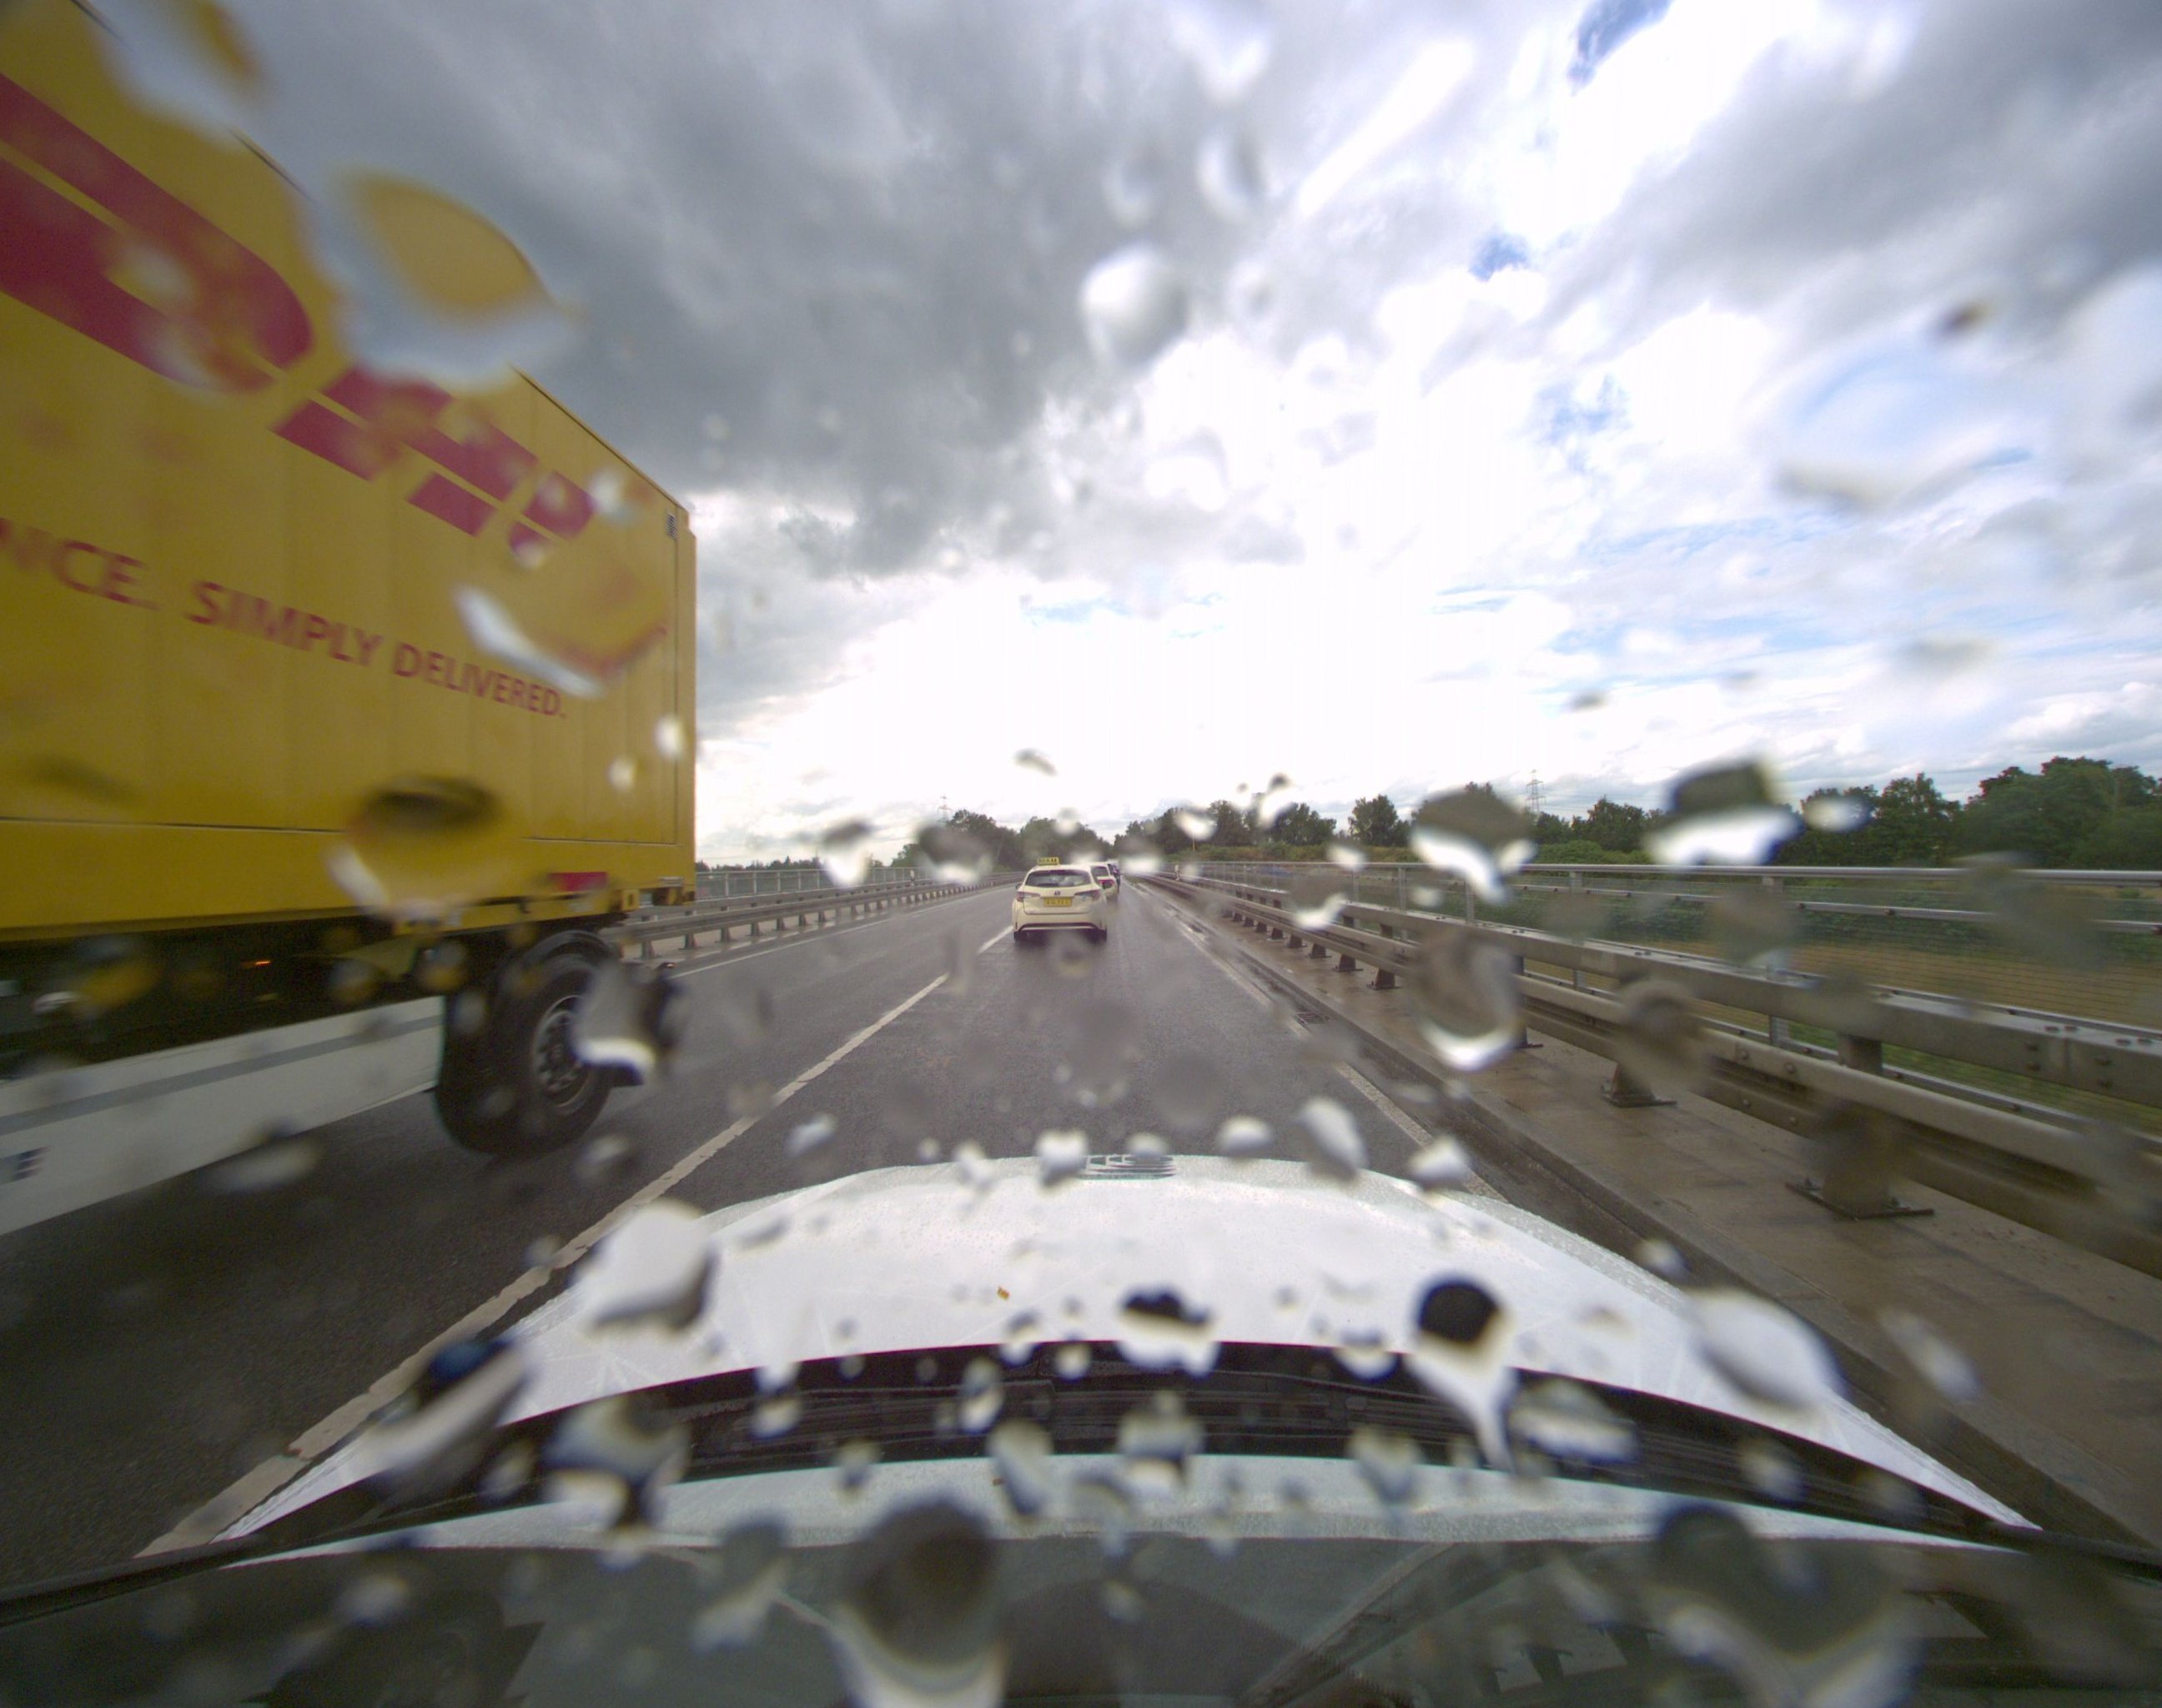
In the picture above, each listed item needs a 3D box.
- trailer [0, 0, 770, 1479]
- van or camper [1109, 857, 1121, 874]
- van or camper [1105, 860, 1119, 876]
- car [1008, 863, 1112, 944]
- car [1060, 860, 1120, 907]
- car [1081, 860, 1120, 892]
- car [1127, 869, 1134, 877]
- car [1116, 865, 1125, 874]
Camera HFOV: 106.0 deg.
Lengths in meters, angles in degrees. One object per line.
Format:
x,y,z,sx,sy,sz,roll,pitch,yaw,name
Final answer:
-3.975,-0.503,2.252,2.672,4.075,8.489,-1,0,2,trailer
7.155,2.432,170.810,2.324,3.563,6.308,0,-1,2,van or camper
5.554,2.520,145.561,2.324,2.864,6.308,0,-1,2,van or camper
-0.312,0.897,16.555,1.847,1.394,4.172,0,0,2,car
0.348,0.933,27.451,1.847,1.443,4.172,0,0,2,car
0.973,1.060,40.438,1.847,1.443,4.172,0,0,2,car
14.122,5.421,233.161,1.986,2.014,3.999,1,-3,1,car
9.544,3.760,198.365,1.986,2.014,4.000,0,-1,1,car
